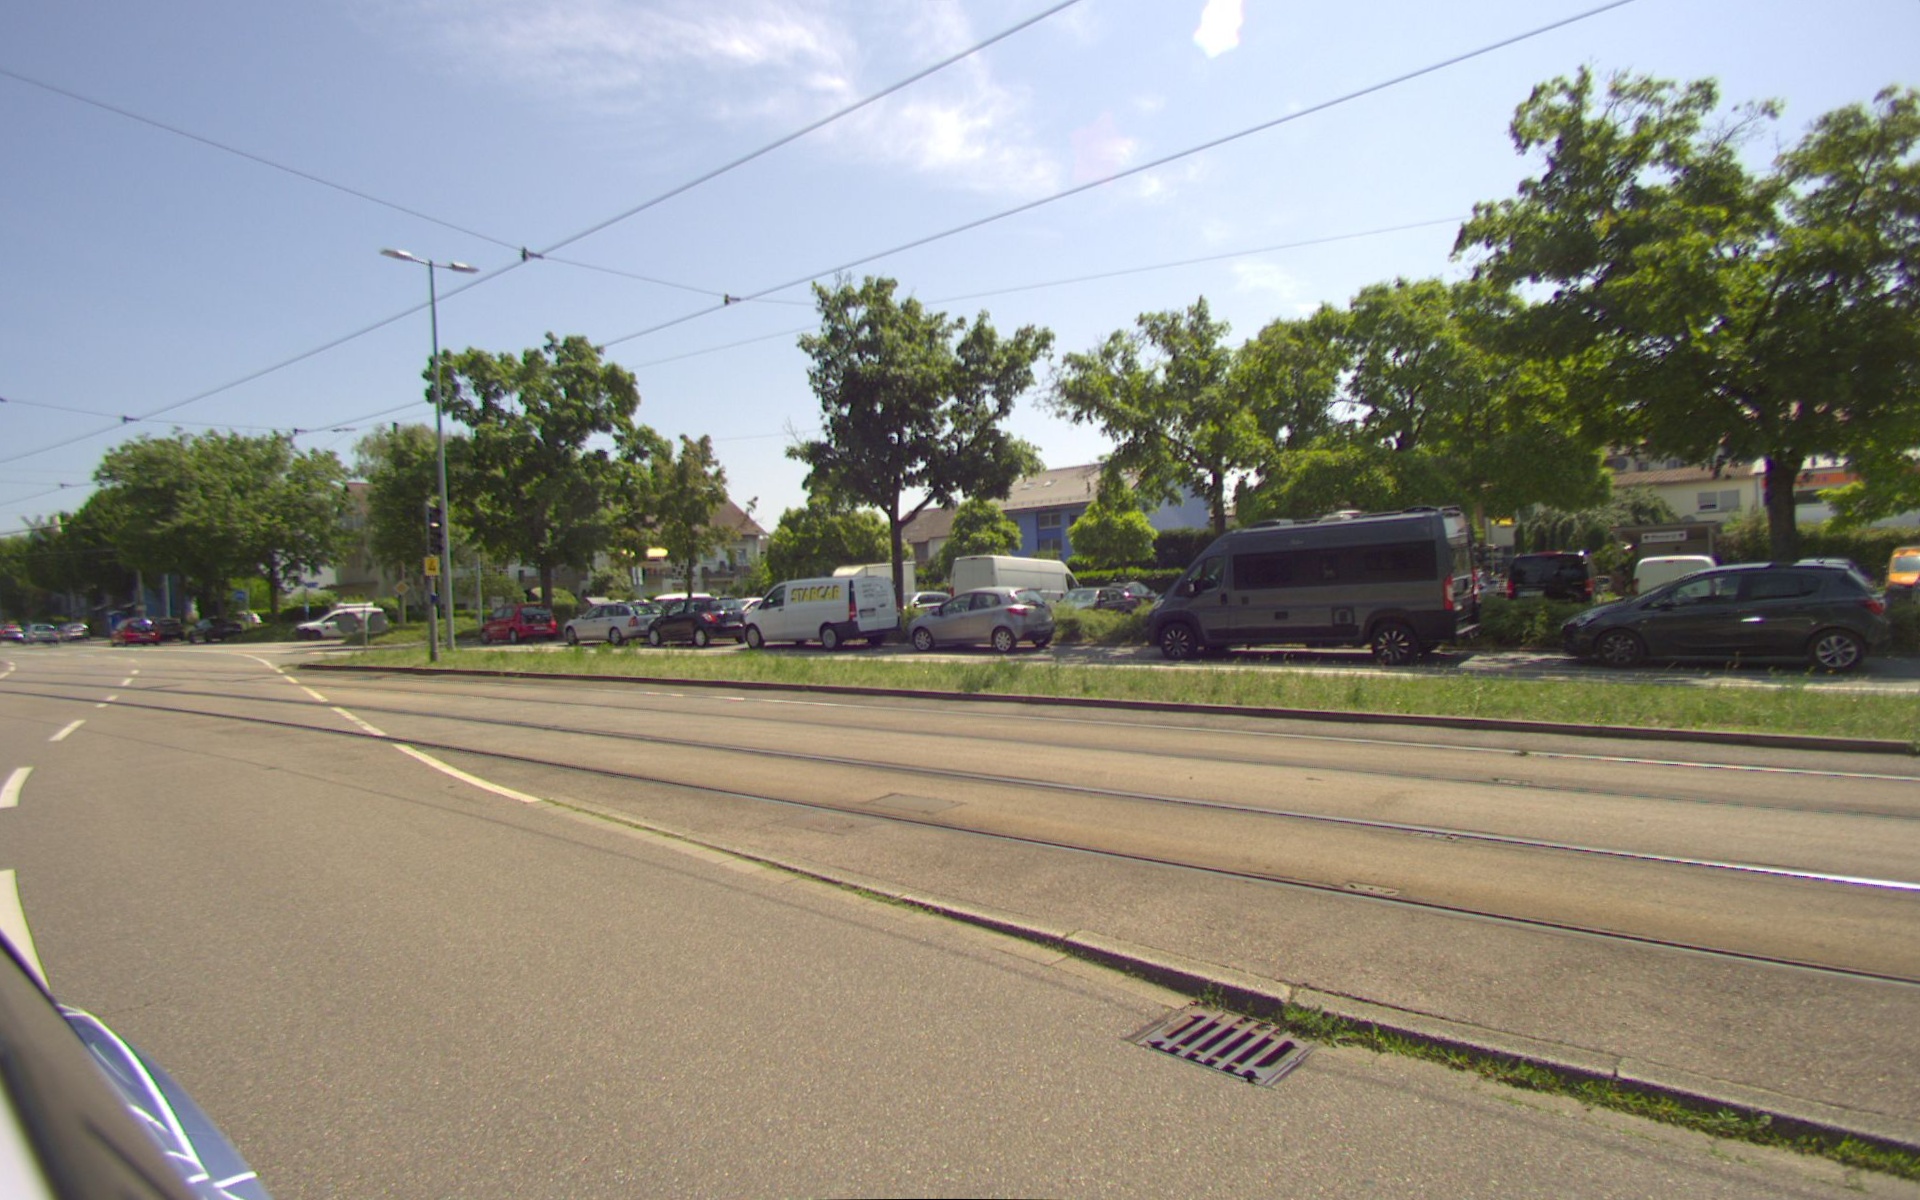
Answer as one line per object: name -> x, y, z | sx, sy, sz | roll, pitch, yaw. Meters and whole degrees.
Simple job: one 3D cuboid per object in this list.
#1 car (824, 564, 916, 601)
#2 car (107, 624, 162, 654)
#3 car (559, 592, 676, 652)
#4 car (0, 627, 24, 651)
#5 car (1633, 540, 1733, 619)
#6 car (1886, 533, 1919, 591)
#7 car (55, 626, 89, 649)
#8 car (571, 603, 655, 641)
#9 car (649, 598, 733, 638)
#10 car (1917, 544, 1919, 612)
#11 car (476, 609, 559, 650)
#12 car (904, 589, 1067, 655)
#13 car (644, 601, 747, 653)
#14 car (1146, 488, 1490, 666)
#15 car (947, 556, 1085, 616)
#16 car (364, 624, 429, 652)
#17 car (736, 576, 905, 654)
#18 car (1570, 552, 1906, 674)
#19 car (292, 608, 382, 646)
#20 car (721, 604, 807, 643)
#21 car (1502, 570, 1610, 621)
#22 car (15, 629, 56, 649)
car -> -5.221, -1.001, 59.325 | 2.144, 2.078, 5.677 | -1, 0, 36
car -> -45.348, 2.113, 55.610 | 3.422, 1.491, 1.797 | -1, 0, 41
car -> -11.686, 0.720, 34.412 | 4.492, 1.907, 1.615 | -1, 0, 39
car -> -78.534, 3.189, 83.307 | 3.753, 1.933, 1.757 | -1, 0, 41
car -> 17.481, -0.499, 24.553 | 1.793, 1.730, 3.953 | -2, 1, 35
car -> 29.393, -1.136, 30.351 | 1.688, 1.665, 4.084 | -2, 0, 33
car -> -76.344, 3.166, 87.022 | 3.981, 1.867, 1.682 | -1, 0, 41
car -> -18.106, 1.135, 52.989 | 1.711, 1.888, 3.955 | -1, 0, 33
car -> -13.473, 0.885, 50.833 | 1.711, 1.888, 3.955 | -1, 0, 33
car -> 21.019, -0.456, 20.292 | 1.861, 1.499, 3.957 | -2, 1, 32
car -> -16.835, 1.089, 38.442 | 3.422, 1.491, 1.561 | -1, 0, 41
car -> 0.579, 0.495, 24.157 | 3.606, 1.475, 1.745 | -1, 0, 41
car -> -8.185, 0.803, 31.213 | 3.259, 1.489, 1.411 | -1, 0, 39
car -> 6.535, -0.345, 18.942 | 5.663, 2.859, 2.216 | -1, 0, 40
car -> 2.082, -0.477, 35.850 | 2.028, 1.970, 5.365 | -1, 0, 41
car -> -25.836, 1.738, 46.360 | 3.422, 1.167, 1.561 | -1, 0, 41
car -> -3.891, 0.403, 27.737 | 4.814, 1.963, 1.900 | -1, 0, 41
car -> 11.426, 0.179, 15.076 | 3.749, 1.589, 1.951 | -1, 0, 40
car -> -34.724, 1.459, 56.428 | 4.145, 2.005, 1.826 | -1, 0, -36
car -> -9.166, 1.083, 47.549 | 1.711, 1.698, 3.955 | -1, 0, 33
car -> 15.153, -0.138, 25.629 | 2.028, 1.152, 4.212 | -2, 1, 35
car -> -66.096, 2.778, 72.318 | 3.753, 1.328, 1.757 | -1, 0, 41
